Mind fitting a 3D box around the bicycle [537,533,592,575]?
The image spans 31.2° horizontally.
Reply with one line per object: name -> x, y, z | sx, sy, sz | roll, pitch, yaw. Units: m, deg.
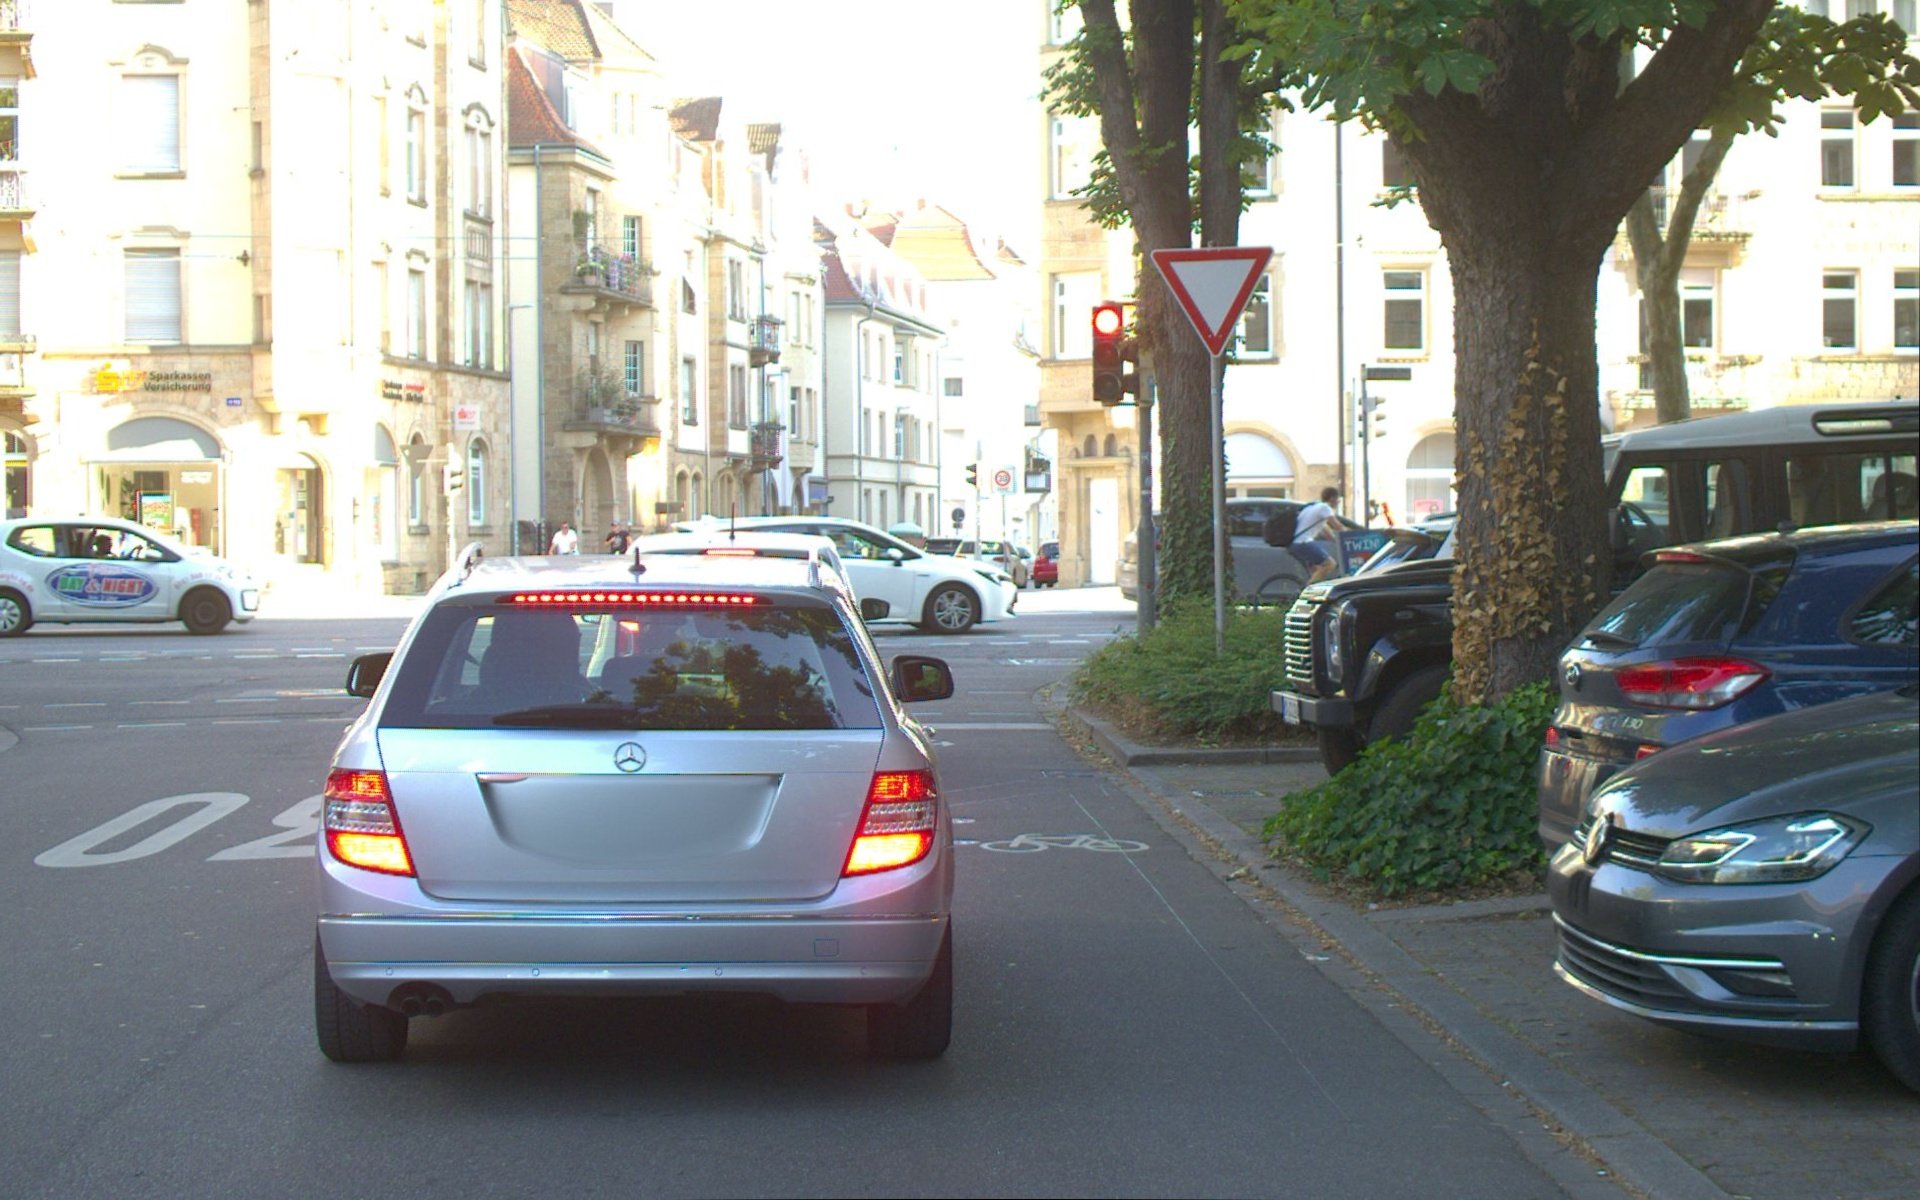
bicycle -> -9.216, -1.083, 80.149 | 0.771, 0.936, 1.939 | 0, 2, 10

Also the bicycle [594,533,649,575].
bicycle -> -7.894, -1.081, 80.260 | 0.771, 0.930, 1.939 | 0, 2, 10

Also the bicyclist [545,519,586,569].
bicyclist -> -9.200, -1.307, 80.221 | 0.771, 1.152, 0.753 | 0, 2, 10

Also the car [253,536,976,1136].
car -> -0.978, 0.541, 10.769 | 1.777, 1.447, 4.549 | 0, 1, -3

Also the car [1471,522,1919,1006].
car -> 3.764, 0.453, 11.545 | 3.723, 1.447, 1.709 | -2, 1, -5

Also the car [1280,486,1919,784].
car -> 3.882, 0.169, 20.078 | 3.723, 1.564, 1.709 | -2, 1, -5

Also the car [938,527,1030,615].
car -> 0.679, -0.806, 92.841 | 2.031, 2.272, 3.999 | 0, 2, 7

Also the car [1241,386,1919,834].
car -> 3.775, 0.004, 17.129 | 4.464, 2.029, 1.701 | -2, 1, -4

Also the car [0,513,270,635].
car -> -10.507, -0.341, 42.794 | 3.685, 1.444, 1.516 | -1, 1, -9

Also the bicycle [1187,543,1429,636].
bicycle -> 4.051, -0.128, 40.075 | 2.682, 1.036, 0.807 | -1, 1, -12

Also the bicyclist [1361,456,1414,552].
bicyclist -> 8.351, -1.872, 67.155 | 0.891, 1.853, 0.637 | -1, 1, -6

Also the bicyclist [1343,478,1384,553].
bicyclist -> 7.746, -1.618, 65.988 | 0.643, 1.421, 0.637 | -1, 1, -6

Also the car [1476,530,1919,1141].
car -> 3.613, 0.513, 9.345 | 4.052, 1.447, 1.723 | -2, 1, -5

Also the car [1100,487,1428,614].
car -> 3.958, -0.667, 45.065 | 3.965, 1.576, 1.740 | -1, 1, -9

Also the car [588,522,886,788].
car -> -1.338, 0.250, 20.949 | 1.619, 1.442, 4.345 | 0, 1, -3

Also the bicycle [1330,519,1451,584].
bicycle -> 8.402, -0.951, 67.186 | 2.256, 1.242, 0.637 | -1, 1, -6

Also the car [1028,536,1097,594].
car -> 3.278, -1.137, 108.919 | 1.835, 1.738, 3.999 | 0, 2, 7

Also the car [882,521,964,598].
car -> -1.114, -1.283, 106.100 | 2.031, 2.272, 3.999 | 0, 2, 7

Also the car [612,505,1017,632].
car -> -1.779, -0.403, 41.450 | 4.660, 1.443, 1.740 | -1, 1, -10

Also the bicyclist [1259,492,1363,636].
bicyclist -> 4.090, -0.428, 40.075 | 0.997, 1.648, 0.807 | -1, 1, -12

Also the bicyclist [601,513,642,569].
bicyclist -> -7.894, -1.374, 80.253 | 0.771, 1.285, 0.753 | 0, 2, 10

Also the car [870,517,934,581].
car -> -2.077, -1.862, 124.240 | 1.787, 2.196, 3.999 | 0, 2, 7
